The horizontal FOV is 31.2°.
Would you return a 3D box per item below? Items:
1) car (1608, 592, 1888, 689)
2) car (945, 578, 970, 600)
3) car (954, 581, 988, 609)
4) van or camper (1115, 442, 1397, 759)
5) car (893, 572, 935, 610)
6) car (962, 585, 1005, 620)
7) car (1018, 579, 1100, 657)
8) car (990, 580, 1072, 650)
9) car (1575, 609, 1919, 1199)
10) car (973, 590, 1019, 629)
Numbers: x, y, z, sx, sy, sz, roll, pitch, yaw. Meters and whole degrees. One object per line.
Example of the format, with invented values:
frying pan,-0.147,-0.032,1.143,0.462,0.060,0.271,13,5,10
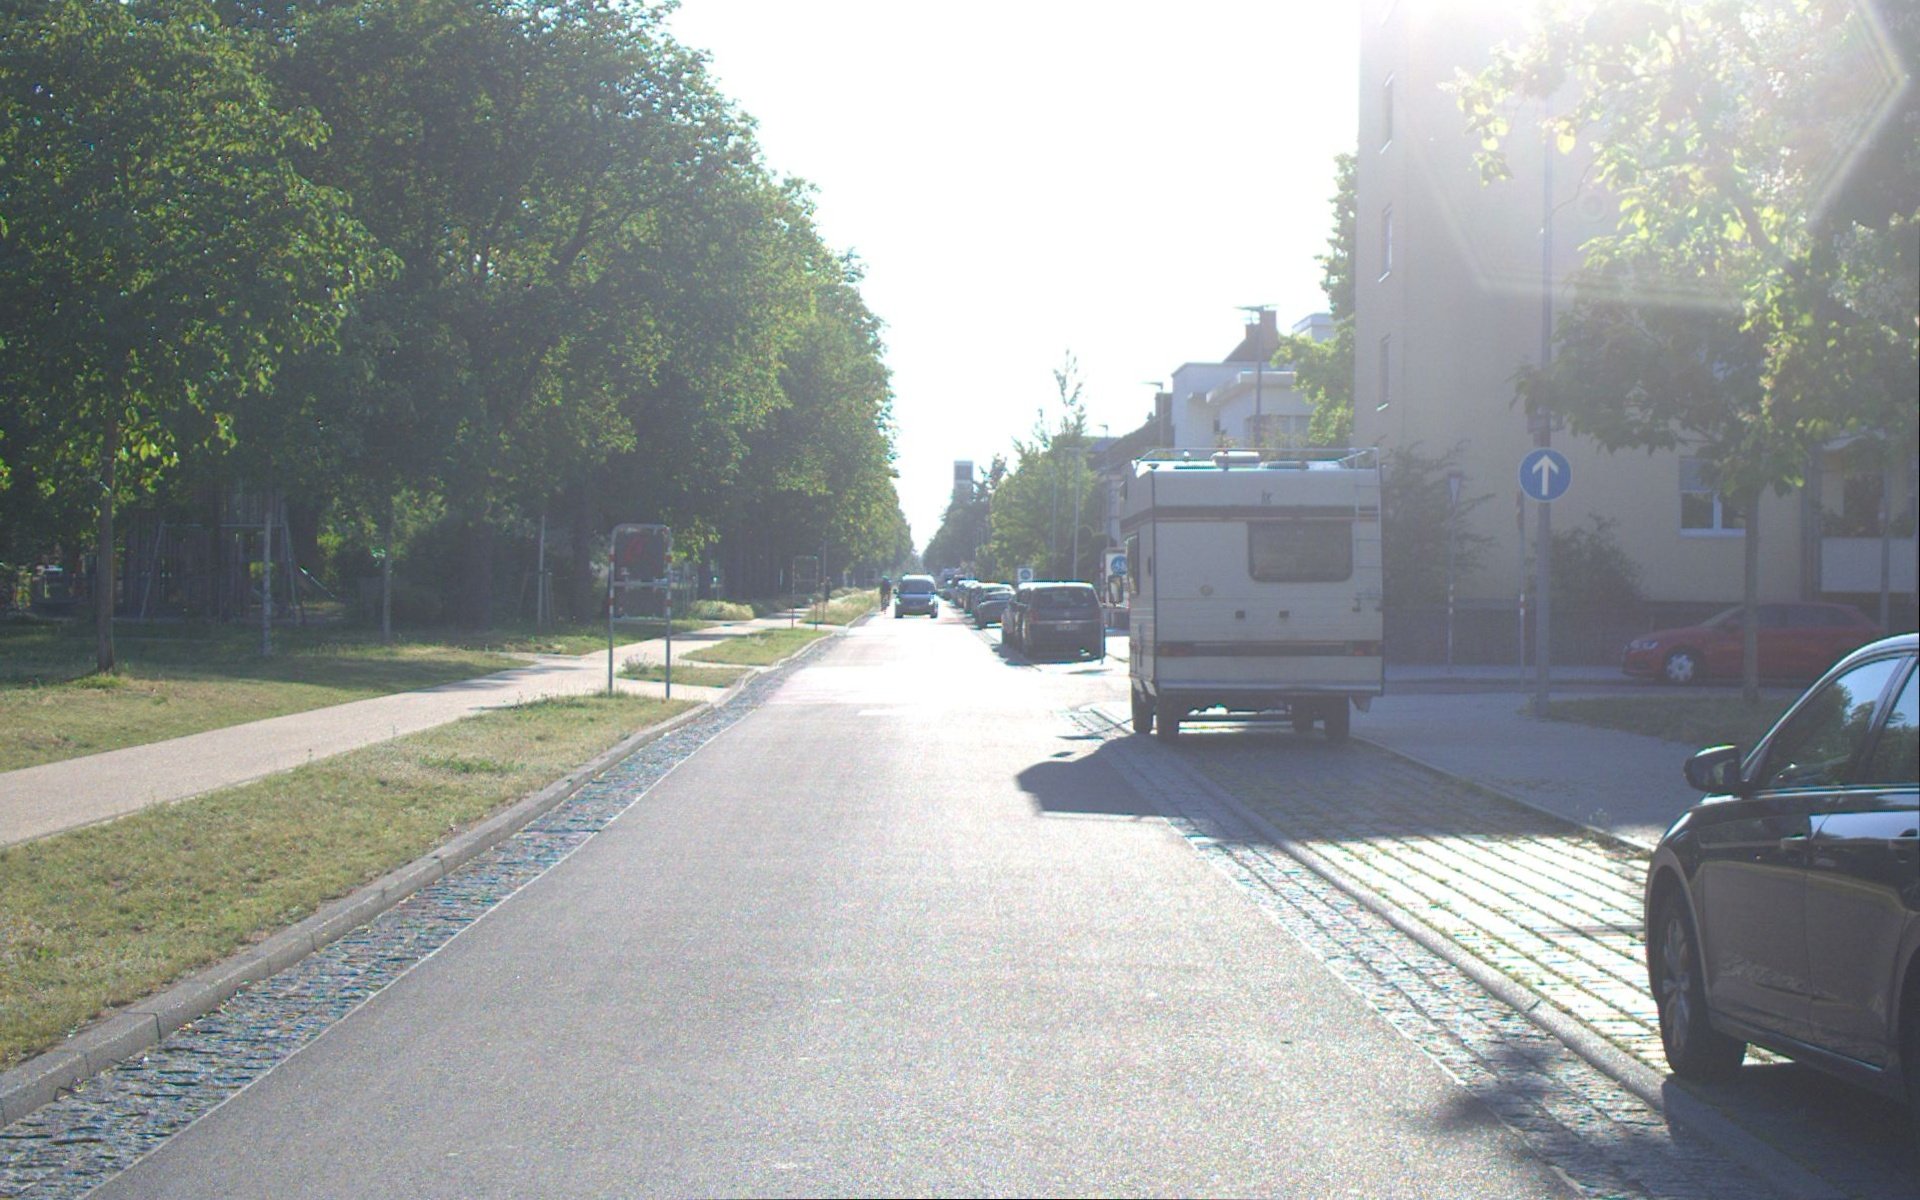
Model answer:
car,12.869,0.652,56.325,4.195,1.525,2.000,0,0,4
car,-0.173,-0.719,229.357,1.626,1.405,4.249,0,0,-1
car,0.560,-0.268,177.139,1.626,1.405,4.249,0,0,-1
van or camper,2.848,0.051,34.437,2.234,2.894,5.673,0,-1,-1
car,-2.035,-0.387,151.039,1.825,1.663,4.249,0,0,-1
car,0.953,0.098,139.899,1.626,1.405,4.249,0,0,-1
car,2.157,0.384,75.741,1.626,1.663,4.249,0,0,-1
car,1.816,0.367,86.824,1.994,1.711,4.000,0,0,2
car,3.064,0.767,9.730,1.626,1.459,4.250,0,0,-4
car,1.336,0.349,129.325,1.626,1.405,4.249,0,0,-1
